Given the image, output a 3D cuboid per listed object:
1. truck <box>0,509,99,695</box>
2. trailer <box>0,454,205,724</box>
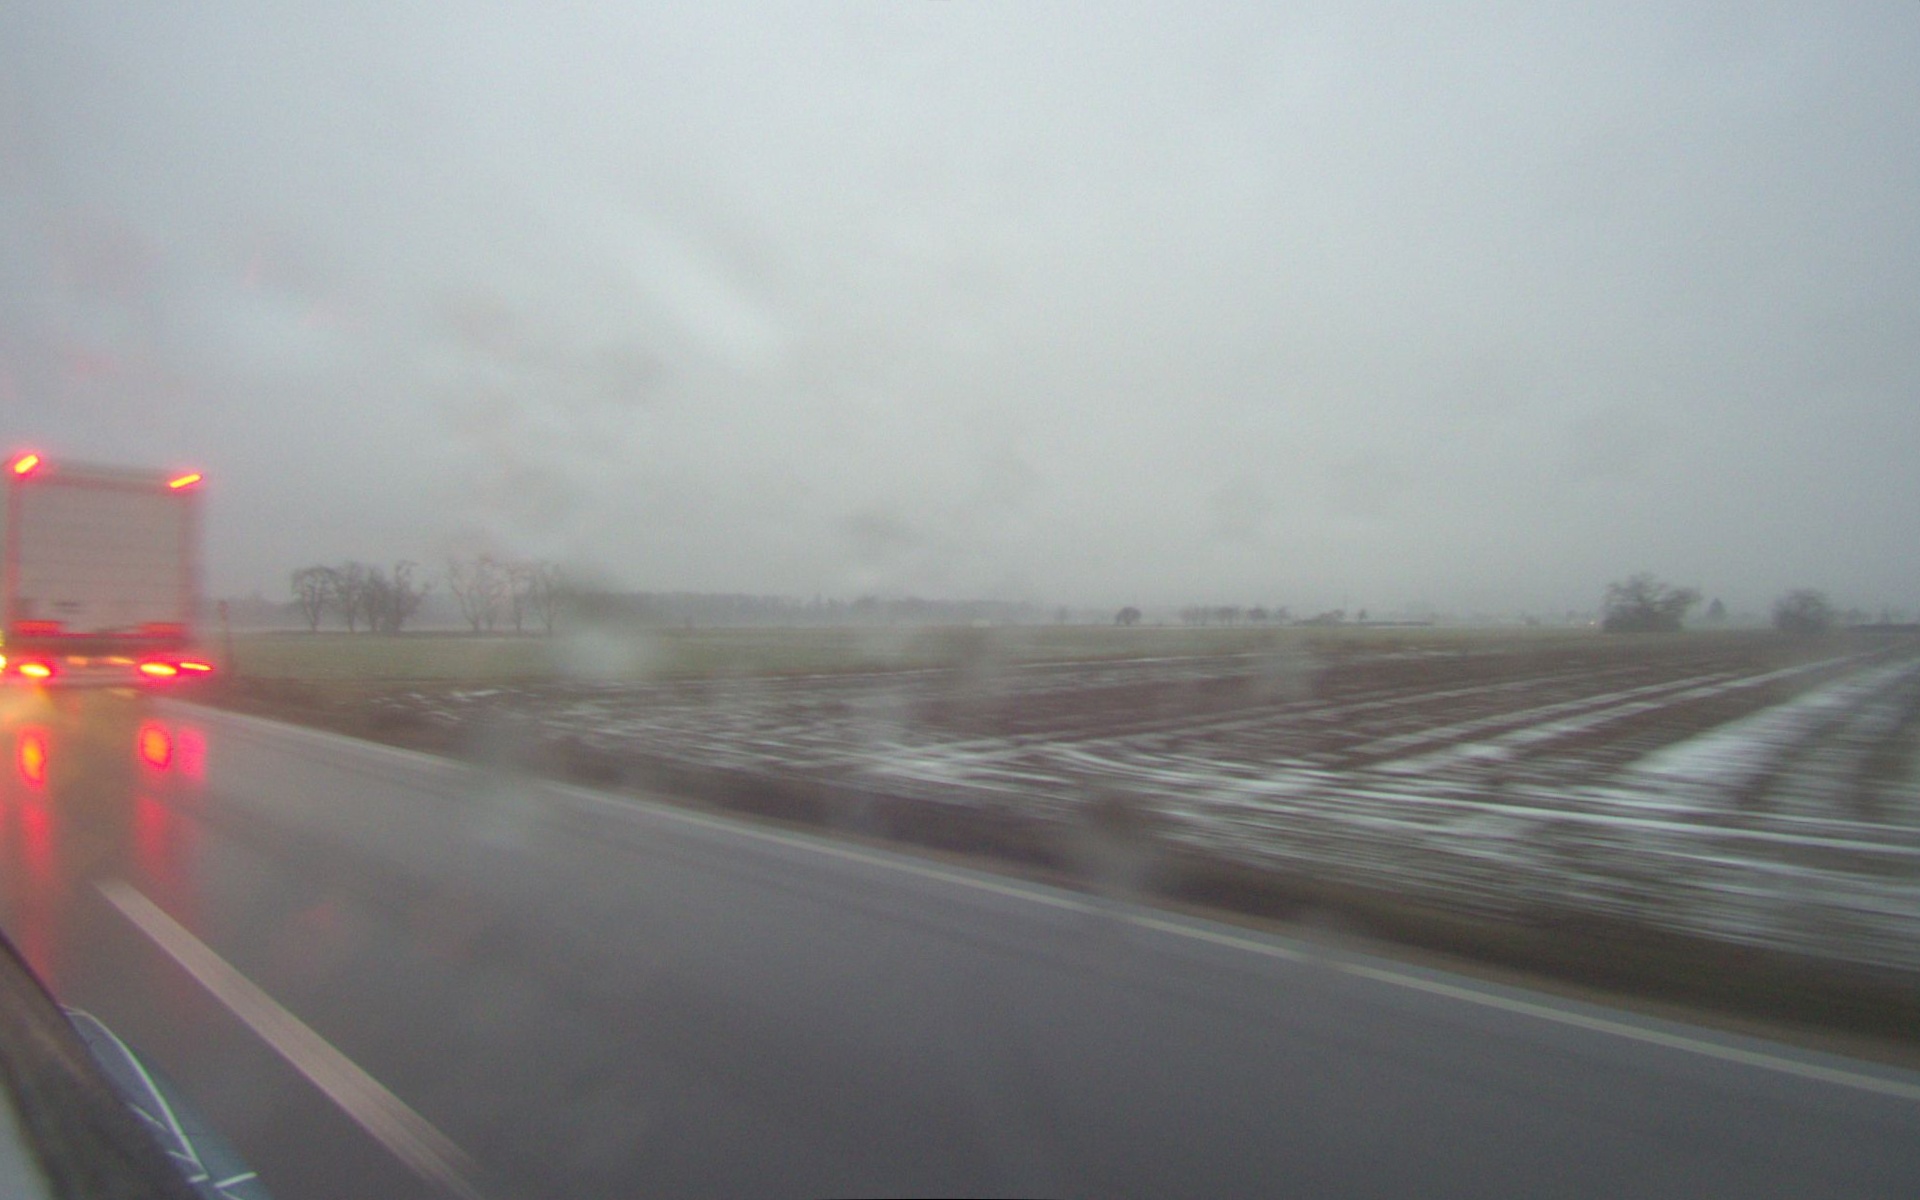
[{"bbox_3d":[-23.664,0.113,24.941,6.584,4.136,2.697,-2,-2,41],"label":"truck"},{"bbox_3d":[-18.541,-0.016,20.441,12.374,4.111,2.674,-2,-2,41],"label":"trailer"}]
